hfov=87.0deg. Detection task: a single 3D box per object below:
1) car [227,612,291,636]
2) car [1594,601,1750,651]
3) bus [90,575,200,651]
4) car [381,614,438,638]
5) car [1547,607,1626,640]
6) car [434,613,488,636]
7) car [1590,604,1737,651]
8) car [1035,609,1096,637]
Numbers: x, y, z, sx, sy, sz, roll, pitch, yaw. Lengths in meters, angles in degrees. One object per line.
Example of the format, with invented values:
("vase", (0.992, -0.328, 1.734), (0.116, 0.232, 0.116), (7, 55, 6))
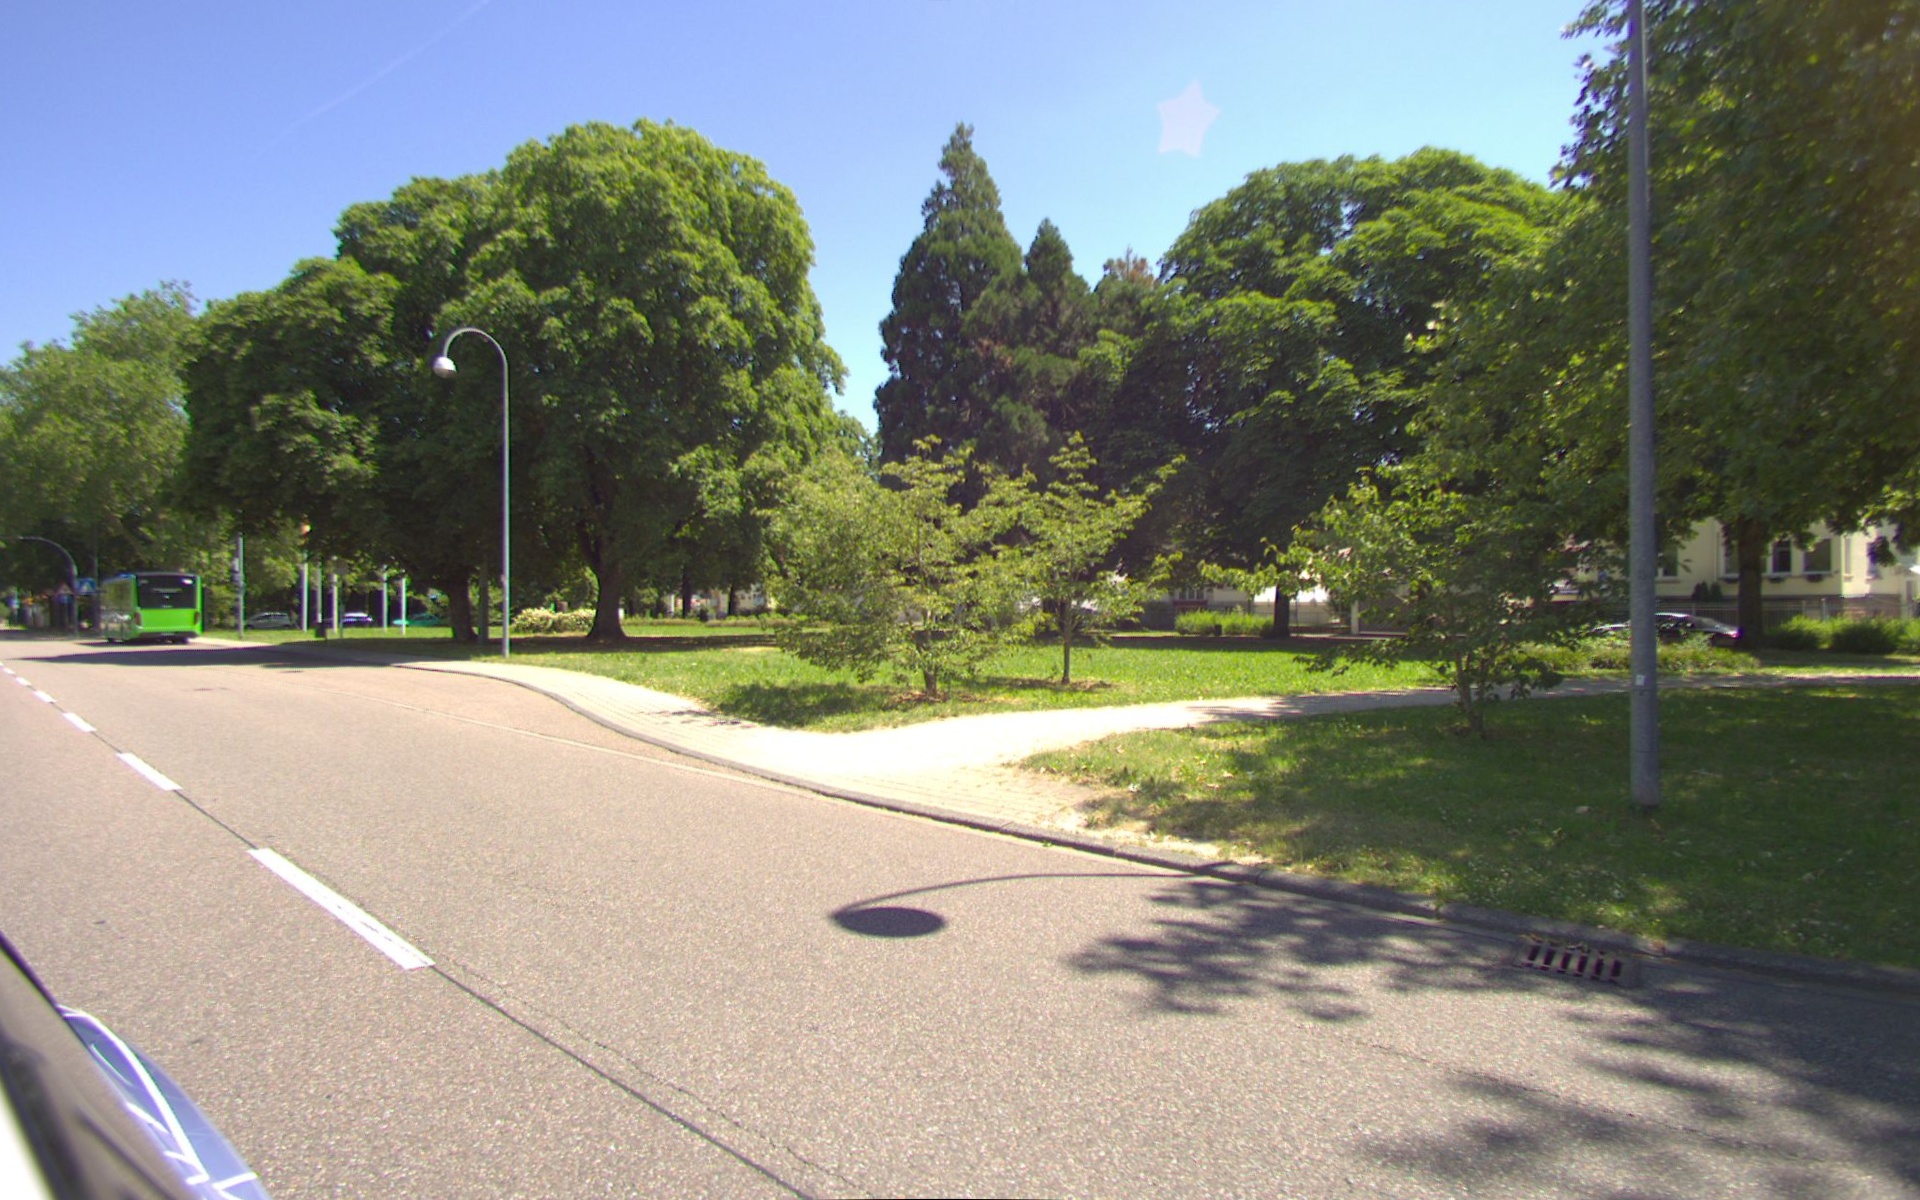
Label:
("car", (-55.384, 1.899, 80.022), (3.939, 1.817, 2.002), (0, -1, -43))
("car", (26.724, 0.945, 38.104), (1.970, 1.792, 4.511), (0, -1, -43))
("bus", (-39.954, 0.651, 49.406), (11.861, 3.328, 2.776), (-1, -1, 44))
("car", (-47.607, 2.220, 87.590), (2.001, 2.029, 3.942), (-1, -1, 44))
("car", (32.222, 1.199, 52.038), (3.933, 1.597, 2.005), (0, -1, -34))
("car", (-44.706, 2.182, 90.768), (2.001, 2.029, 3.942), (-1, -1, 44))
("car", (28.757, 1.081, 41.533), (1.966, 1.792, 4.519), (0, -1, -31))
("car", (7.177, 1.561, 69.166), (1.967, 1.792, 4.009), (0, -1, -36))
